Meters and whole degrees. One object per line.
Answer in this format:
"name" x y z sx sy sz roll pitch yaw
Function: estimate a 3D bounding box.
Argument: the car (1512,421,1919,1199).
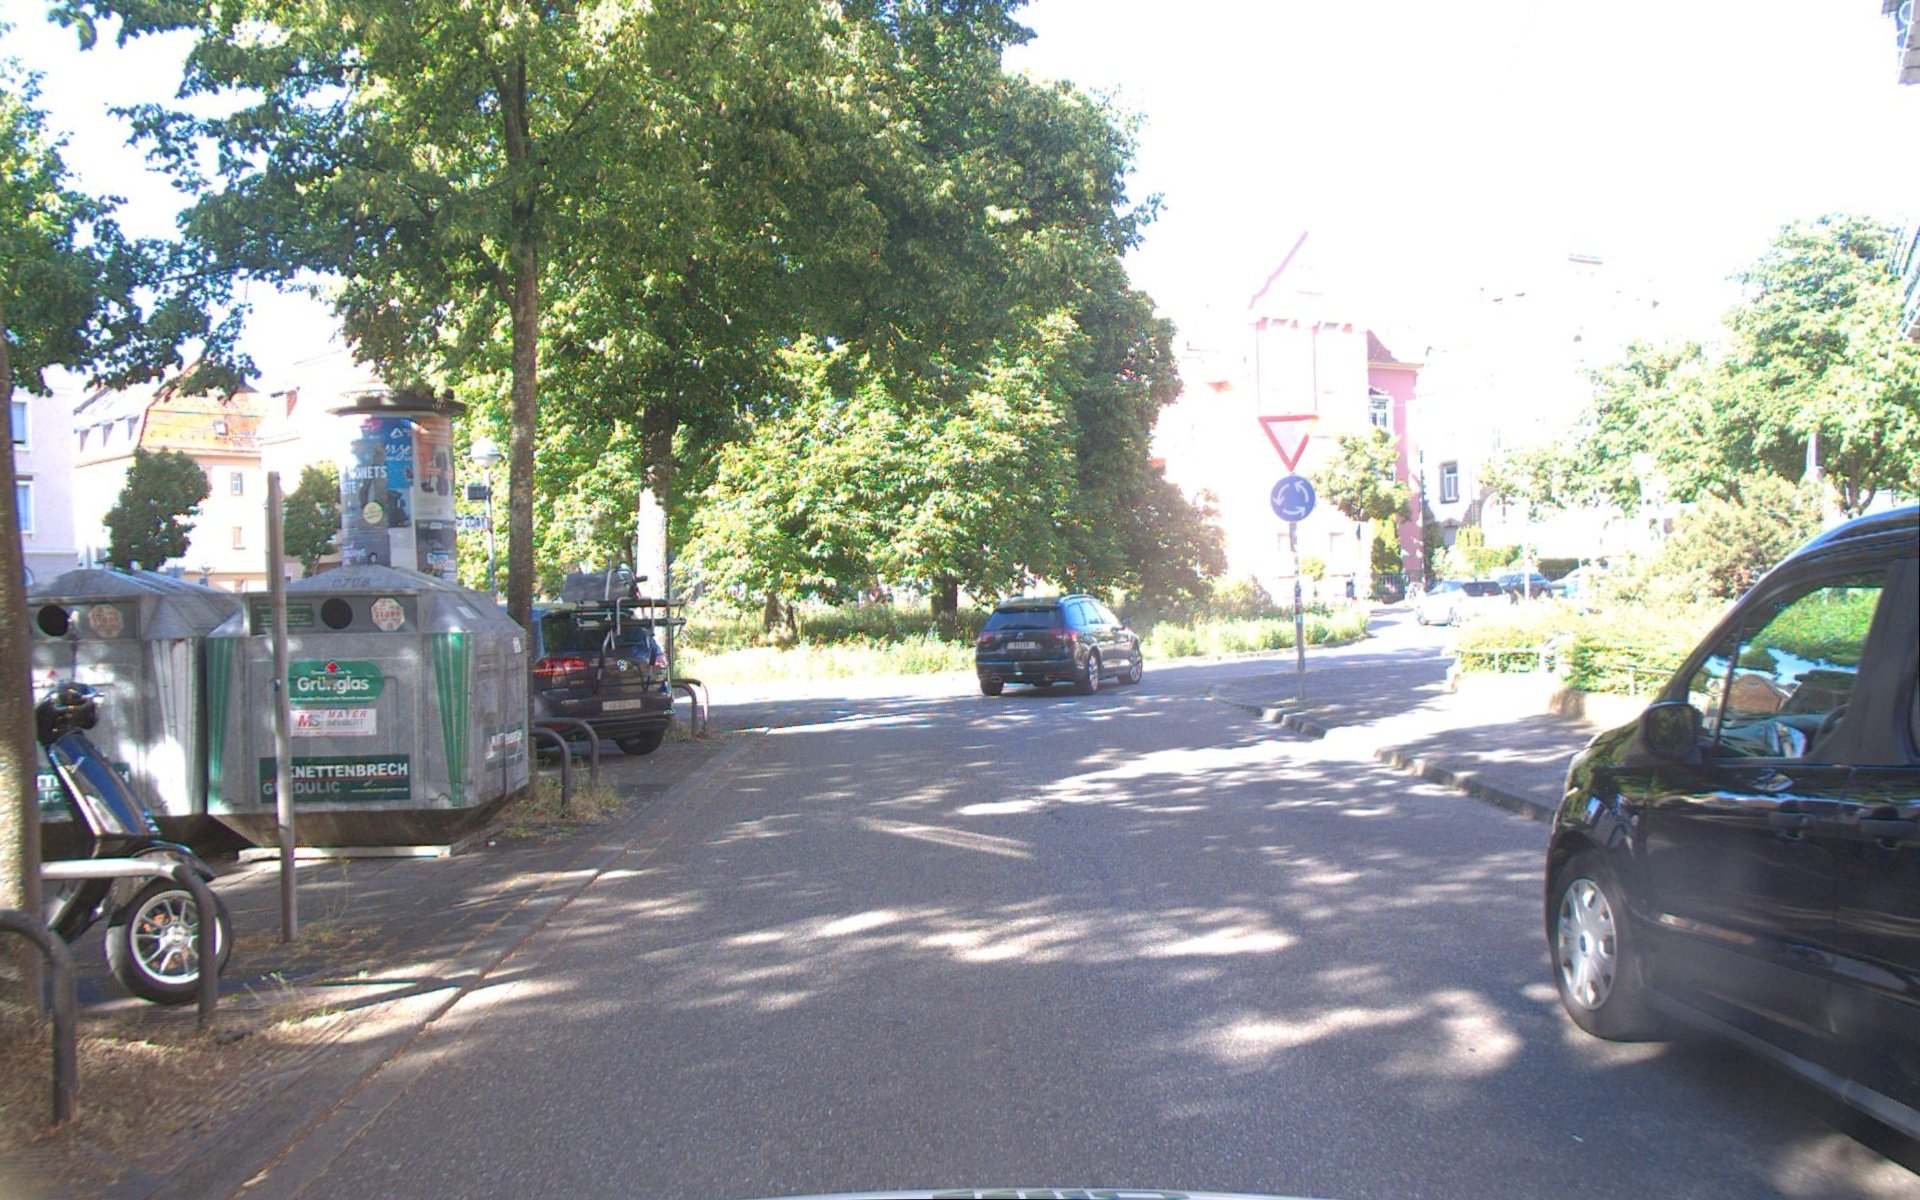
"car" 3.136 0.547 4.390 1.765 1.903 4.271 2 0 -2

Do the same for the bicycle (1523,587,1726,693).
"bicycle" 7.838 0.484 19.561 2.178 1.180 0.388 -2 0 25

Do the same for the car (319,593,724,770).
"car" -4.340 0.735 16.101 4.063 1.507 1.767 -2 -1 39

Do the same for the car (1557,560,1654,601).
"car" 26.223 -0.803 67.183 3.921 1.480 1.545 -3 0 -30

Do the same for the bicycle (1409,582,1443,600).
"bicycle" 21.620 -0.426 76.714 0.469 0.814 2.279 -2 0 -12

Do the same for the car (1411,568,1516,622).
"car" 15.669 -0.131 51.671 1.682 1.591 3.765 -2 -1 -8

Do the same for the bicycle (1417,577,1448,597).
"bicycle" 22.194 -0.612 77.743 0.469 0.930 2.281 -2 0 -9

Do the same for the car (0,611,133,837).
"car" -8.204 0.925 11.932 3.707 1.491 1.646 -3 0 10

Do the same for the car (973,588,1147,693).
"car" 1.682 0.614 26.329 1.678 1.509 4.146 -2 -1 19

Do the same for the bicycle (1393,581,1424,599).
"bicycle" 20.949 -0.461 77.275 0.469 0.814 2.021 -2 0 -14

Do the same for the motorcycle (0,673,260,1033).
"motorcycle" -3.614 0.912 5.963 1.900 1.191 0.518 -2 0 -4
